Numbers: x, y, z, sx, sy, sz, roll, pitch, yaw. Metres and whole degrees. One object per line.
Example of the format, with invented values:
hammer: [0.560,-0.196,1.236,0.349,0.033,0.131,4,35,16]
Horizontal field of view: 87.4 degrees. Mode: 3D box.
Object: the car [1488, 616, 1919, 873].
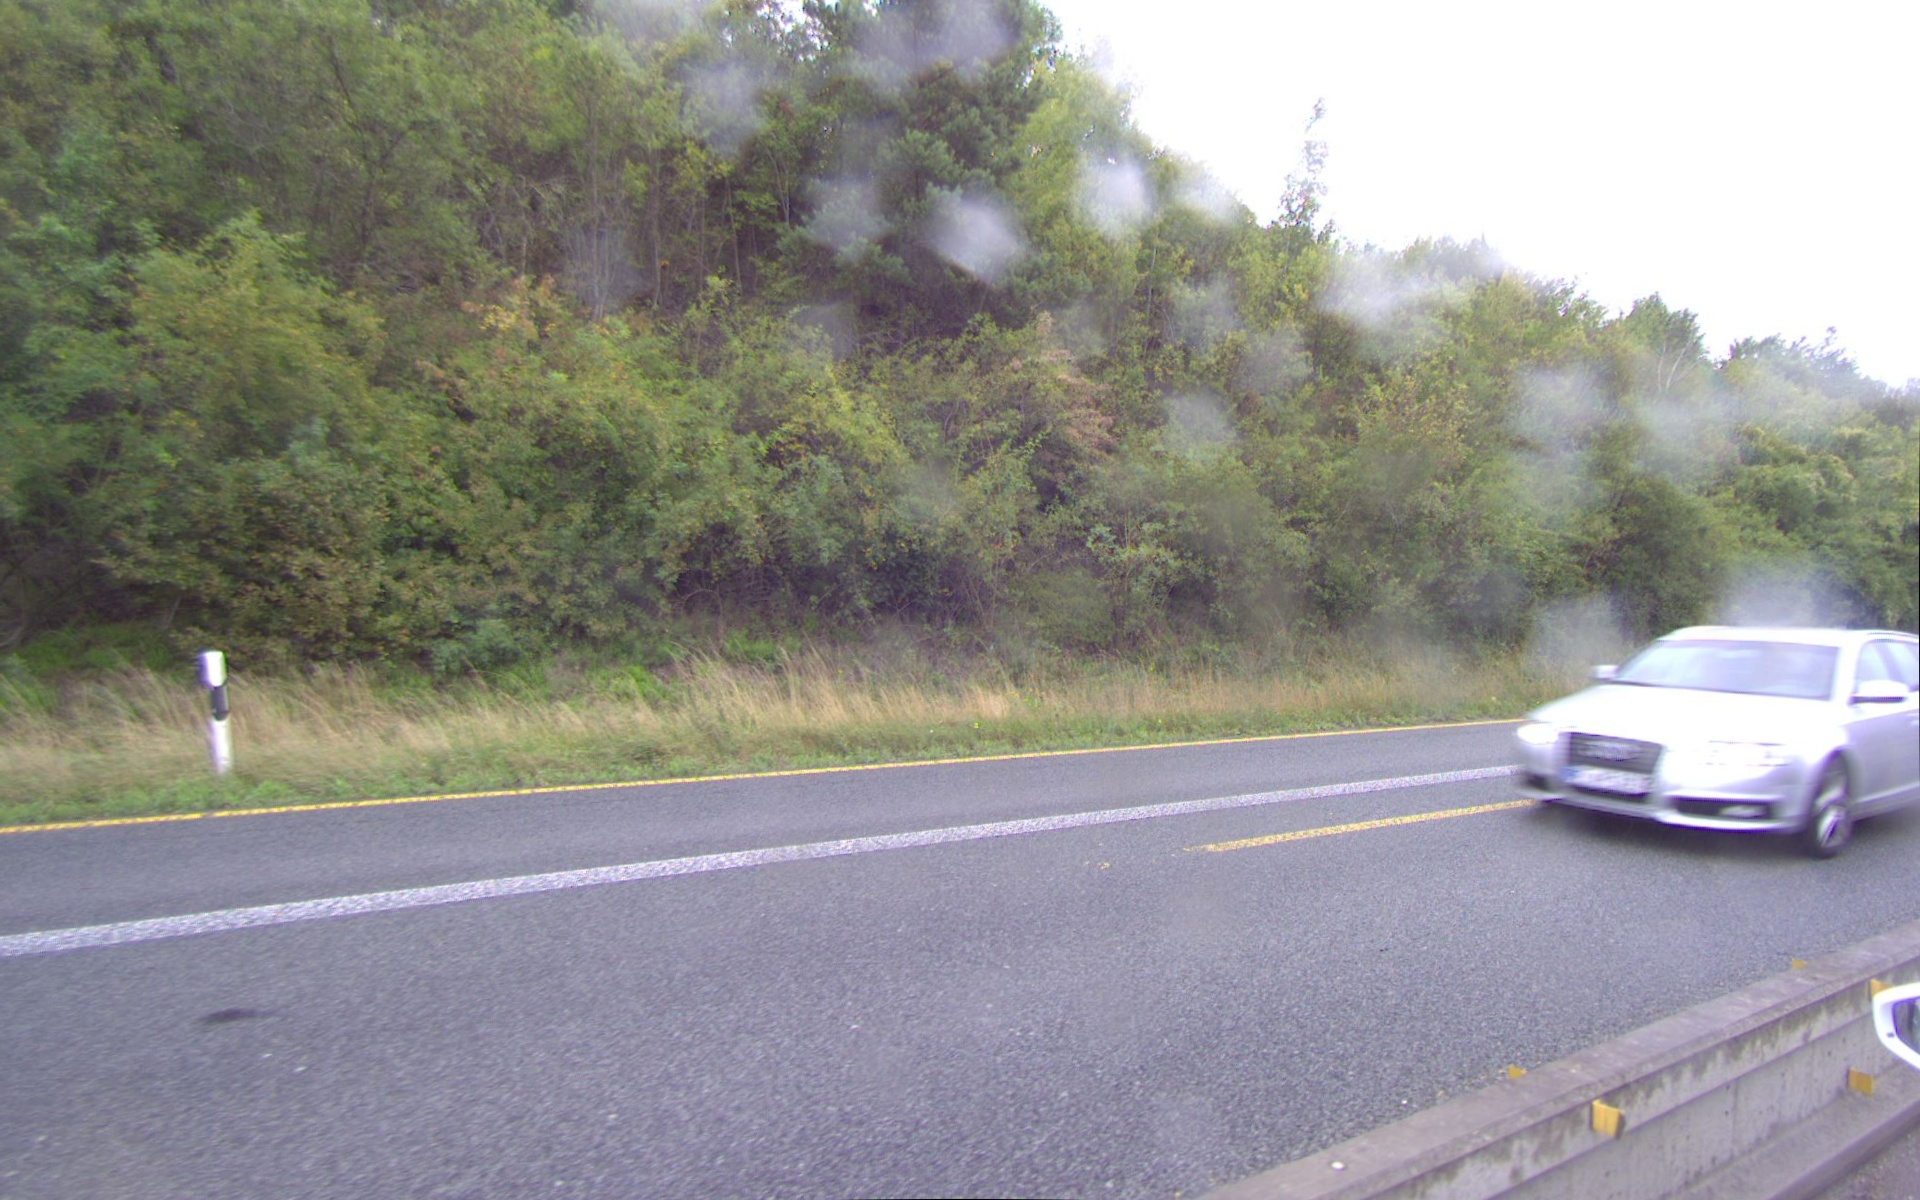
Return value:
car: [6.157,0.913,7.745,4.280,1.463,1.770,2,0,-32]
